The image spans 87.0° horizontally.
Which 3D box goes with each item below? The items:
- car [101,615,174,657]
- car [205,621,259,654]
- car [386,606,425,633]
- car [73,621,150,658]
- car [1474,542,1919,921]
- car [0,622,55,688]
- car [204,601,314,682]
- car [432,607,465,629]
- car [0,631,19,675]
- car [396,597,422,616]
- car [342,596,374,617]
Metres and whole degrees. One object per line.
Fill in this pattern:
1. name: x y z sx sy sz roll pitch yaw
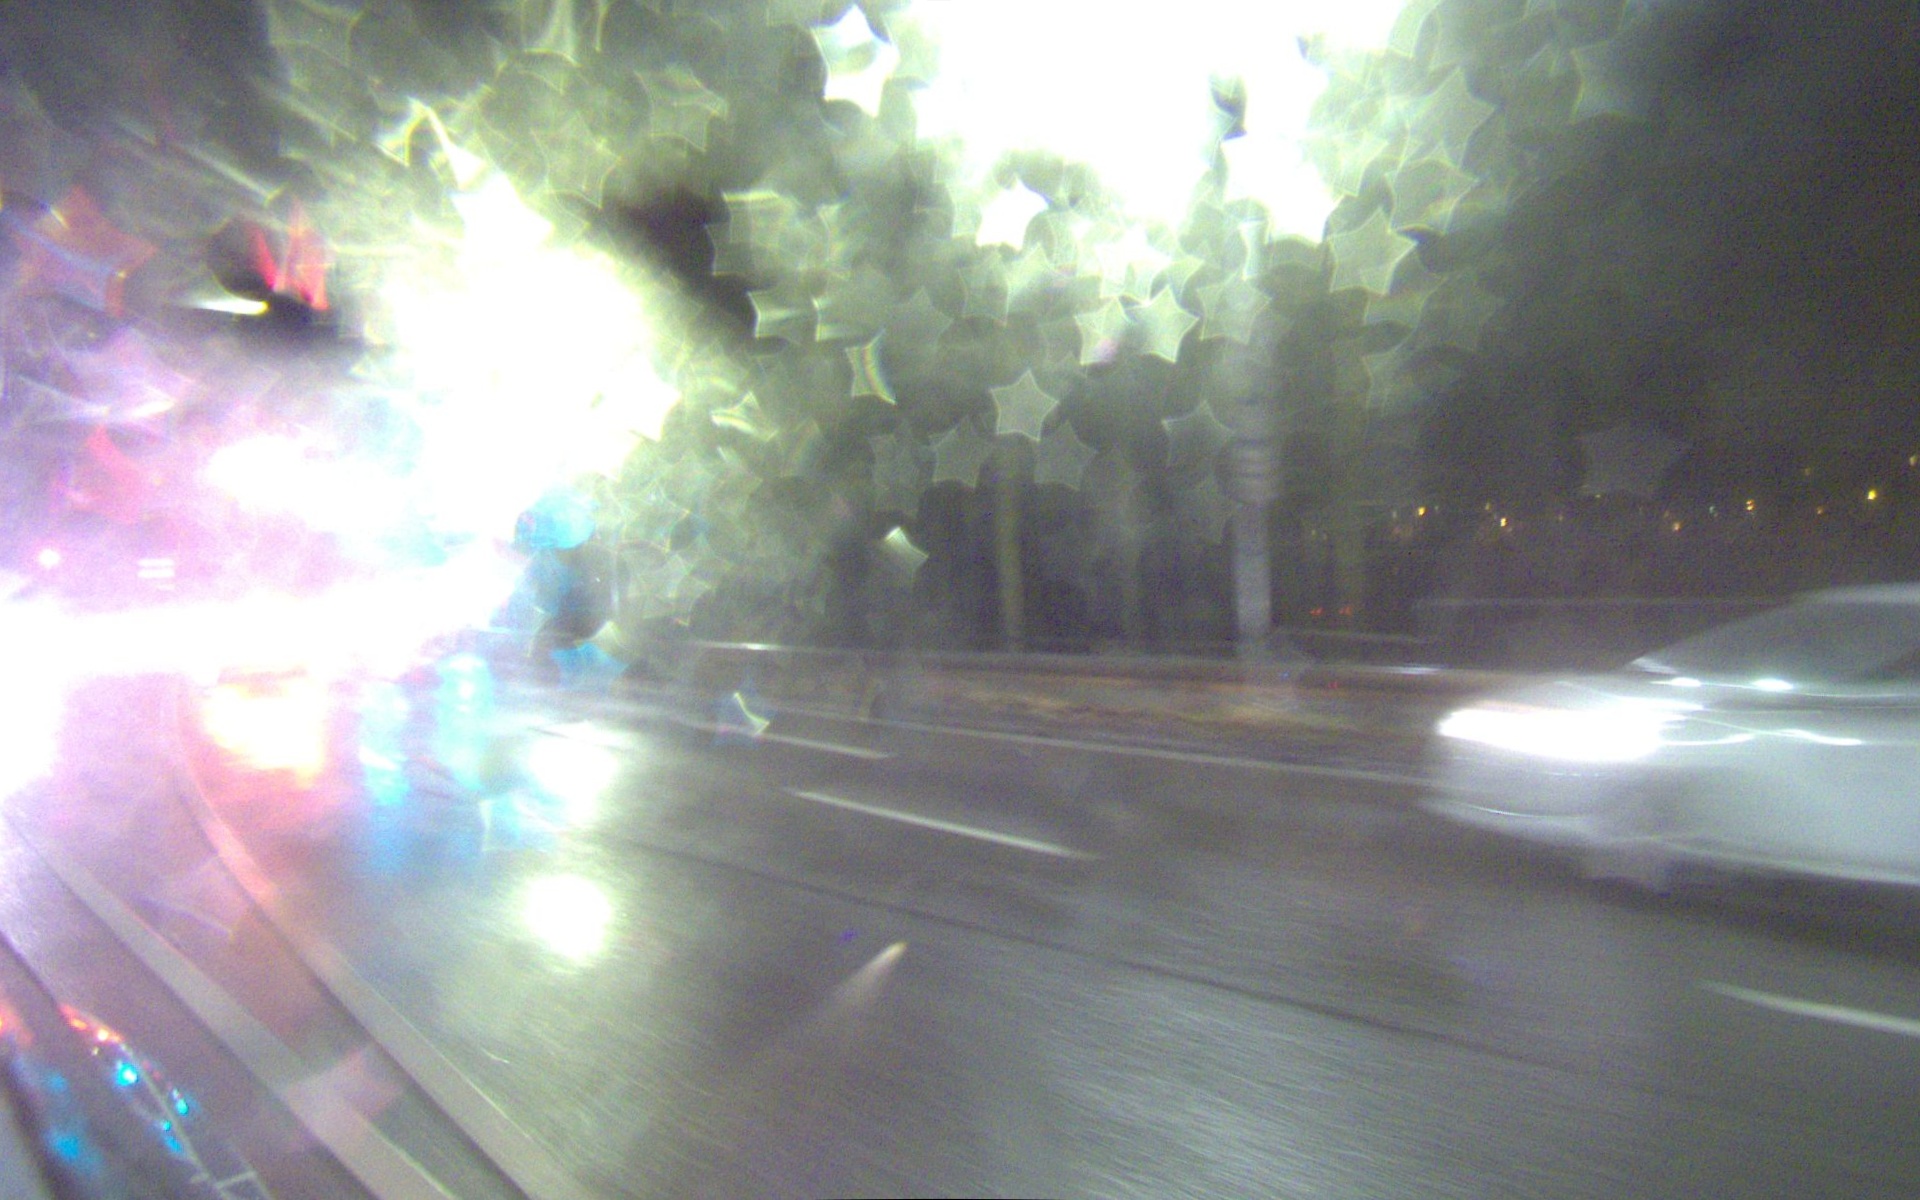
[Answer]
1. car: -44.044 1.897 54.276 1.965 2.029 4.013 -2 0 -23
2. car: -48.671 2.481 67.767 1.838 2.029 4.013 -2 0 -20
3. car: -35.373 1.235 64.639 1.957 1.617 4.849 -1 -1 -26
4. car: -50.931 2.331 60.840 1.966 2.029 4.011 -2 0 -15
5. car: 4.692 0.513 4.496 3.949 1.529 1.747 -2 0 44
6. car: -37.007 2.144 39.529 1.969 2.027 4.009 -8 8 -37
7. car: -16.894 0.935 24.431 1.972 1.687 4.629 -2 0 -35
8. car: -39.282 1.379 77.770 1.957 1.617 4.849 -1 -1 -23
9. car: -45.801 2.527 47.039 1.805 2.029 4.013 -2 0 -25
10. car: -63.020 0.796 115.789 1.838 2.029 4.012 -2 0 -17
11. car: -61.118 0.708 102.752 1.838 2.029 4.012 -2 0 -17
